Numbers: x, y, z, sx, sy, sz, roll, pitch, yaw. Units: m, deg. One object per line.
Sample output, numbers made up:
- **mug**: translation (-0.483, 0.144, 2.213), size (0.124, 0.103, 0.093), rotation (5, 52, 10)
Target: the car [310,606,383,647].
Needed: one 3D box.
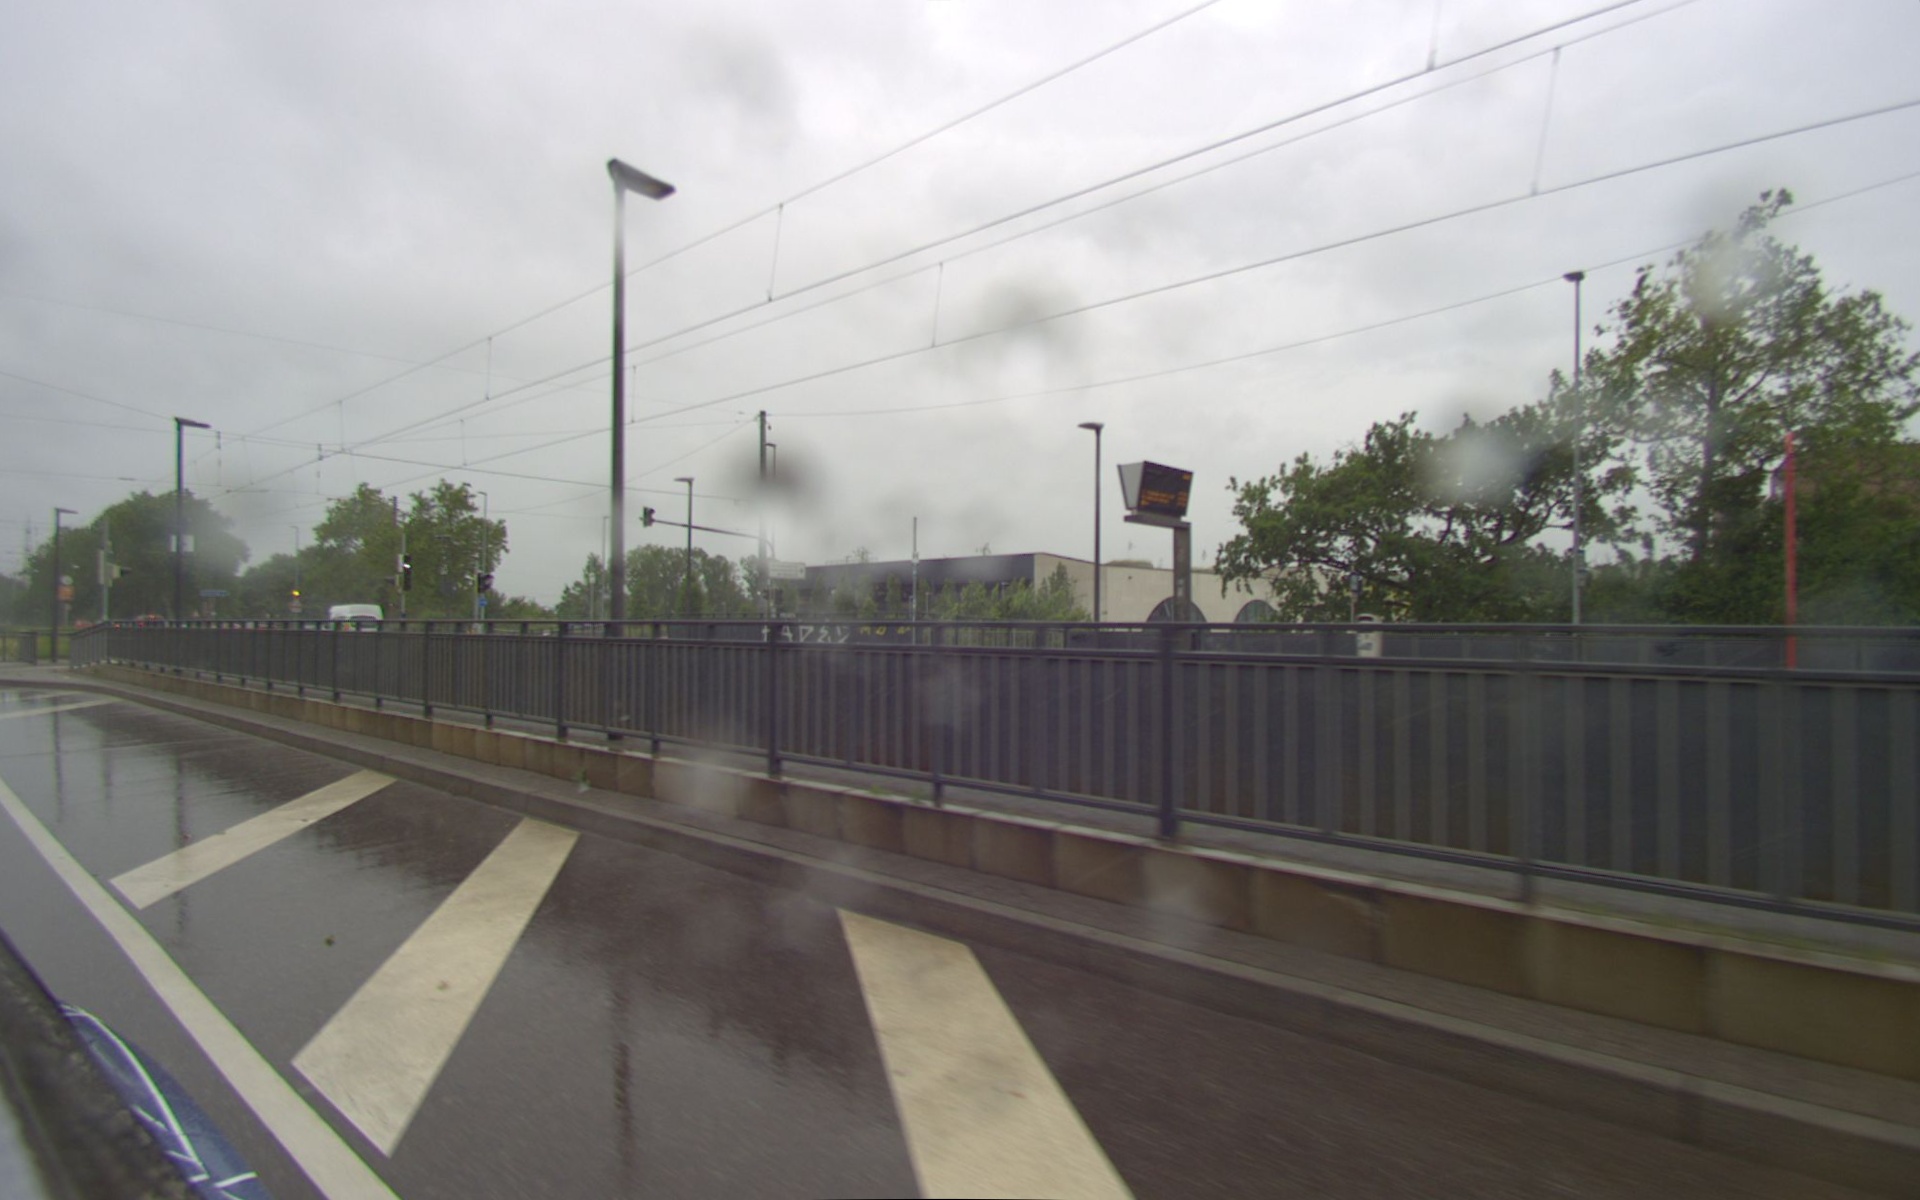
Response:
- **car**: translation (-31.946, 1.355, 52.630), size (4.752, 2.029, 1.972), rotation (-1, -1, 42)

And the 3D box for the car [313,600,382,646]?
- **car**: translation (-37.994, 1.371, 62.736), size (5.737, 2.733, 2.097), rotation (-1, -1, 42)

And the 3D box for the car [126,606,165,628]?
- **car**: translation (-68.837, 1.427, 85.533), size (4.257, 1.785, 1.972), rotation (-1, -1, 42)

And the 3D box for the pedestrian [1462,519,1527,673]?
- **pedestrian**: translation (14.567, -0.108, 27.584), size (1.514, 4.059, 1.160), rotation (0, 0, 31)

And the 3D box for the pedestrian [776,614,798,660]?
- **pedestrian**: translation (-7.760, 1.633, 45.373), size (0.696, 2.029, 0.691), rotation (-1, -1, 42)

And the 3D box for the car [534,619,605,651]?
- **car**: translation (-24.280, 2.139, 62.887), size (3.931, 1.874, 2.006), rotation (0, -1, -28)

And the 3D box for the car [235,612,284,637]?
- **car**: translation (-51.241, 1.786, 74.044), size (4.624, 1.720, 1.972), rotation (-1, -1, 42)

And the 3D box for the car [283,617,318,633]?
- **car**: translation (-76.050, 2.859, 116.770), size (1.966, 1.694, 4.551), rotation (0, -1, -14)

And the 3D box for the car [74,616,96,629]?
- **car**: translation (-108.557, 2.747, 125.540), size (3.619, 1.602, 1.584), rotation (0, 0, 42)

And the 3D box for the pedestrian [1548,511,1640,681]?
- **pedestrian**: translation (15.719, -0.093, 25.120), size (1.152, 4.059, 1.524), rotation (0, 0, -20)

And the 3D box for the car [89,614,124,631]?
- **car**: translation (-83.625, 2.211, 99.142), size (4.380, 1.608, 1.972), rotation (-1, -5, 42)

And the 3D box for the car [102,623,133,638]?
- **car**: translation (-92.165, 3.303, 110.694), size (4.297, 1.497, 1.973), rotation (-1, -1, 41)

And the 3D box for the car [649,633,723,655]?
- **car**: translation (-18.344, 2.945, 67.840), size (4.305, 1.453, 2.003), rotation (2, -3, -40)
